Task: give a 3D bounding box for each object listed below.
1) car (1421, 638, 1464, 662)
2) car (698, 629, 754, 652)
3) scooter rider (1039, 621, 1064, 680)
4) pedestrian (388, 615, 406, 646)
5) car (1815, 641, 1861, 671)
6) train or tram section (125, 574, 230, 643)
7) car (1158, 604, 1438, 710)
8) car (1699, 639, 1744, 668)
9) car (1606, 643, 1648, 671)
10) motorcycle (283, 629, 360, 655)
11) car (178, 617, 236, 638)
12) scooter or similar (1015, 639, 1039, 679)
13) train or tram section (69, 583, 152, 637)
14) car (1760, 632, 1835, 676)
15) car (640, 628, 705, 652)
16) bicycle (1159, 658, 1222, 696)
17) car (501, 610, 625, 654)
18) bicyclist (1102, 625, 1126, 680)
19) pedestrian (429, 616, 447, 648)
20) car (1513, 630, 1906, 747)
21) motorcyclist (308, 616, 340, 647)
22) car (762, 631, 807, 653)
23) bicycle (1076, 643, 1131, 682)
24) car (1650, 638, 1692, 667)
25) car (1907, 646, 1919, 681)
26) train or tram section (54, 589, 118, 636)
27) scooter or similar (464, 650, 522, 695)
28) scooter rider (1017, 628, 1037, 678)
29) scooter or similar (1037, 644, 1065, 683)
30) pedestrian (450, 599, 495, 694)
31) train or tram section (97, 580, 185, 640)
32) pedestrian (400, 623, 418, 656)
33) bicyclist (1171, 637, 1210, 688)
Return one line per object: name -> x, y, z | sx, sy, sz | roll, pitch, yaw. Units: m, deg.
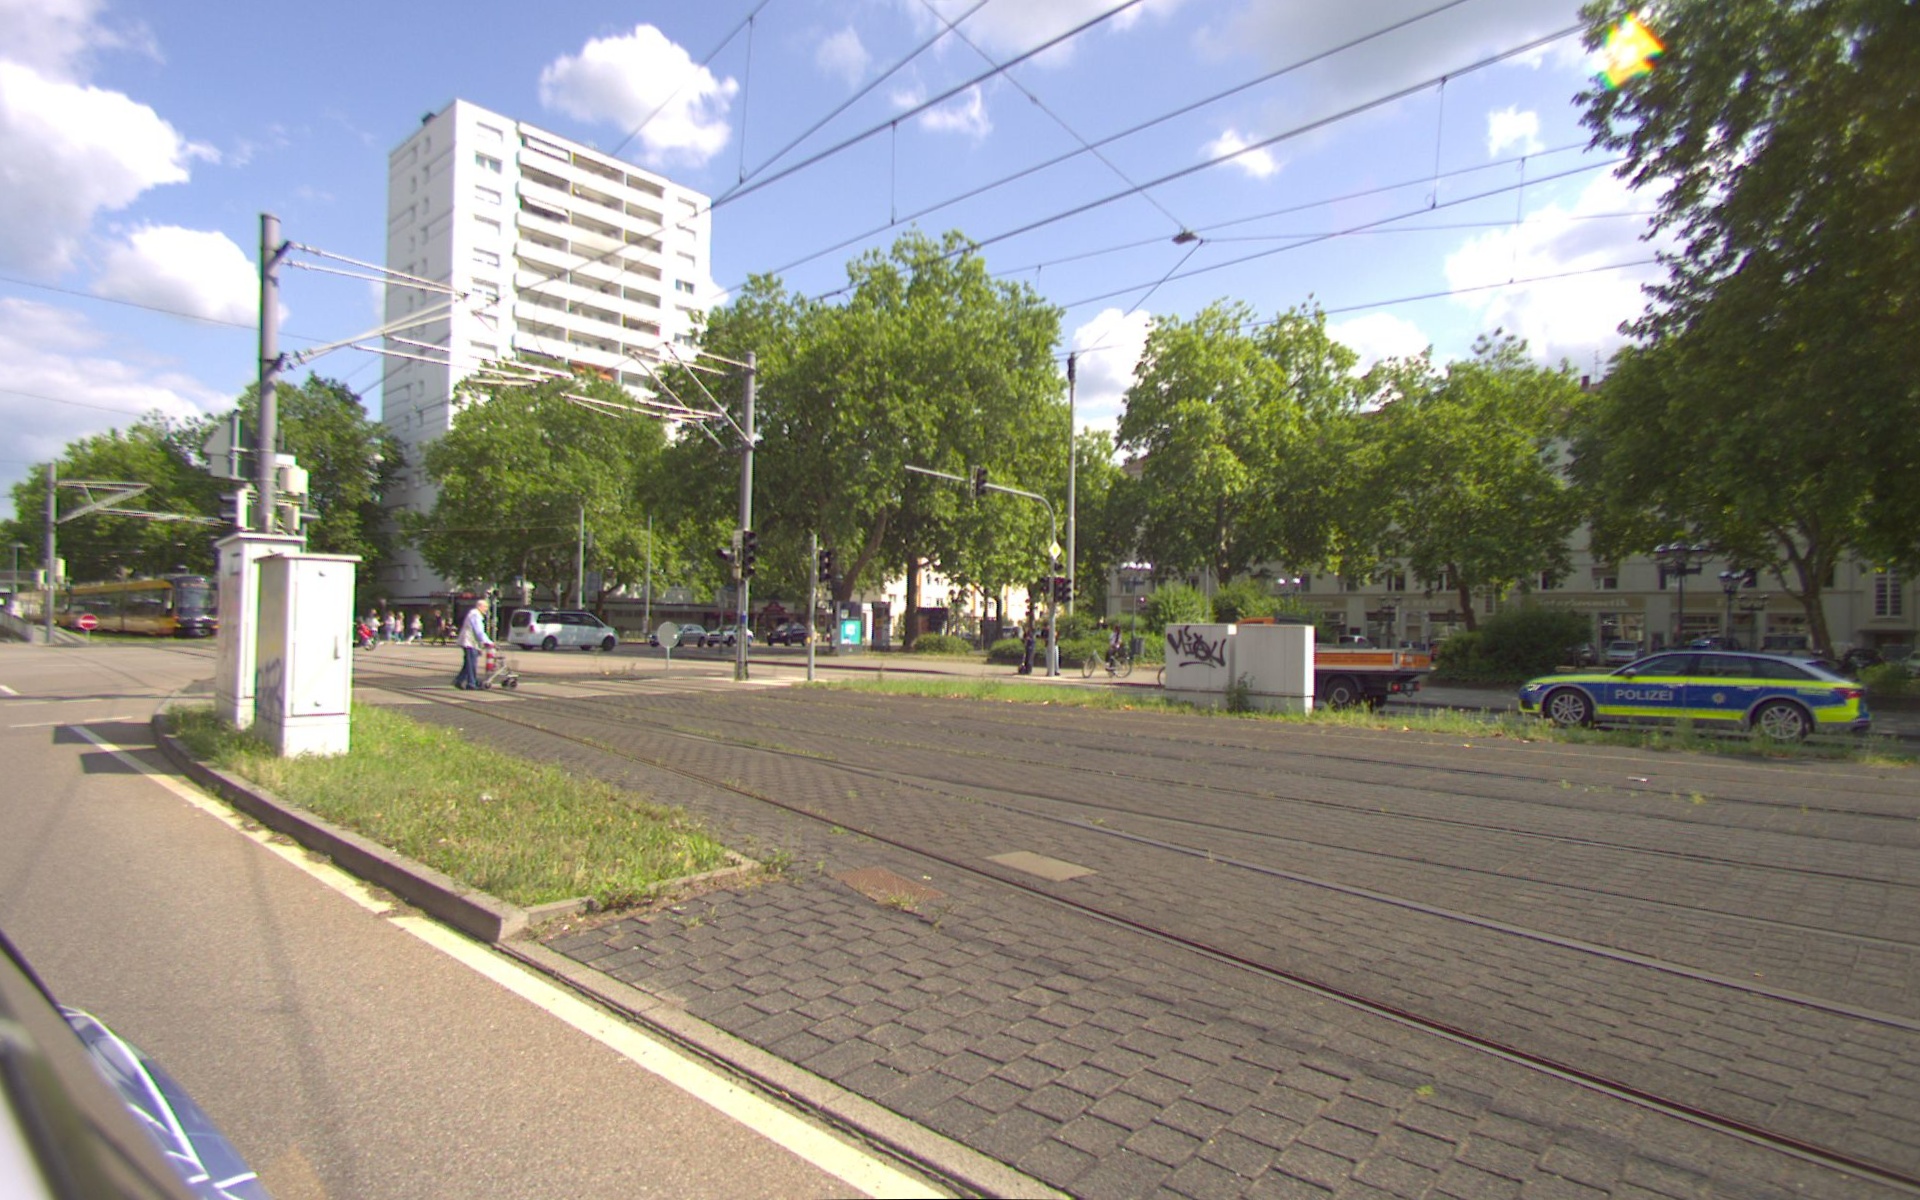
car -> 34.758, 3.596, 72.874 | 1.850, 1.672, 4.028 | -1, -2, 40
car -> -16.173, 2.795, 70.160 | 1.847, 1.501, 4.048 | 0, -2, 20
scooter rider -> 2.904, 1.601, 32.279 | 0.535, 1.824, 0.682 | 0, 0, -23
pedestrian -> -31.590, 1.723, 56.778 | 0.648, 1.716, 0.662 | -1, -2, 45
car -> 50.499, 3.192, 58.290 | 1.850, 1.672, 4.030 | 0, -2, 39
train or tram section -> -44.320, 0.526, 57.135 | 11.376, 3.588, 2.765 | -1, -2, 43
car -> 7.150, 1.214, 21.849 | 5.334, 2.002, 2.052 | -3, -4, 42
car -> 46.390, 3.228, 61.624 | 2.080, 1.672, 4.030 | 0, -2, 39
car -> 42.675, 3.637, 64.752 | 1.850, 1.672, 4.030 | 0, -2, 39
motorcycle -> -25.413, 1.666, 40.305 | 2.467, 0.984, 0.699 | 2, -2, -42
car -> -57.290, 2.092, 76.980 | 3.826, 1.501, 1.846 | 0, -2, 24
scooter or similar -> 2.187, 1.919, 33.003 | 0.541, 1.235, 0.871 | 0, 0, 20
train or tram section -> -61.133, 0.755, 72.693 | 12.153, 3.588, 2.776 | -1, -2, 42
car -> 42.116, 2.706, 50.872 | 3.872, 2.029, 2.259 | 5, -5, -41
car -> -18.140, 2.525, 64.062 | 1.850, 1.501, 3.966 | 0, -2, 25
bicycle -> 6.163, 2.039, 27.117 | 0.463, 0.928, 1.720 | 2, -2, -39
car -> -18.538, 1.528, 47.483 | 1.996, 1.906, 5.110 | 1, -2, 35
bicyclist -> 4.771, 1.617, 31.371 | 0.574, 1.681, 0.508 | -1, -1, -9
pedestrian -> -28.147, 1.746, 54.568 | 0.648, 1.716, 0.662 | -1, -2, 45
car -> 12.441, 1.387, 17.128 | 5.153, 1.665, 1.846 | -1, -4, 42
motorcyclist -> -25.360, 1.250, 40.344 | 0.962, 1.227, 0.699 | 2, -2, -42
car -> -13.453, 3.179, 77.637 | 1.677, 1.632, 3.974 | 0, -2, 19
bicycle -> 4.436, 1.923, 31.318 | 1.605, 1.121, 0.508 | -1, -1, -9
car -> 44.440, 3.245, 63.218 | 1.850, 1.672, 4.030 | 0, -2, 39
car -> 45.639, 2.956, 47.217 | 1.850, 1.545, 4.030 | 0, -2, 39
train or tram section -> -68.954, 0.985, 79.735 | 8.906, 3.509, 2.736 | -1, -2, 43
scooter or similar -> -8.879, 1.370, 19.256 | 0.553, 0.810, 0.830 | -1, -2, 37
scooter rider -> 2.196, 1.710, 33.049 | 0.541, 1.605, 0.435 | 0, 0, 20
scooter or similar -> 2.889, 2.027, 32.305 | 0.535, 1.180, 0.879 | 0, 0, -23
pedestrian -> -9.126, 0.859, 18.938 | 0.556, 1.746, 0.521 | -1, -2, 37
train or tram section -> -52.576, 0.669, 64.803 | 11.181, 3.588, 2.775 | -1, -2, 43
pedestrian -> -29.691, 2.129, 54.503 | 0.648, 1.716, 0.662 | -1, -2, 45
bicyclist -> 6.175, 1.663, 27.118 | 0.463, 1.354, 0.911 | 2, -2, -39
